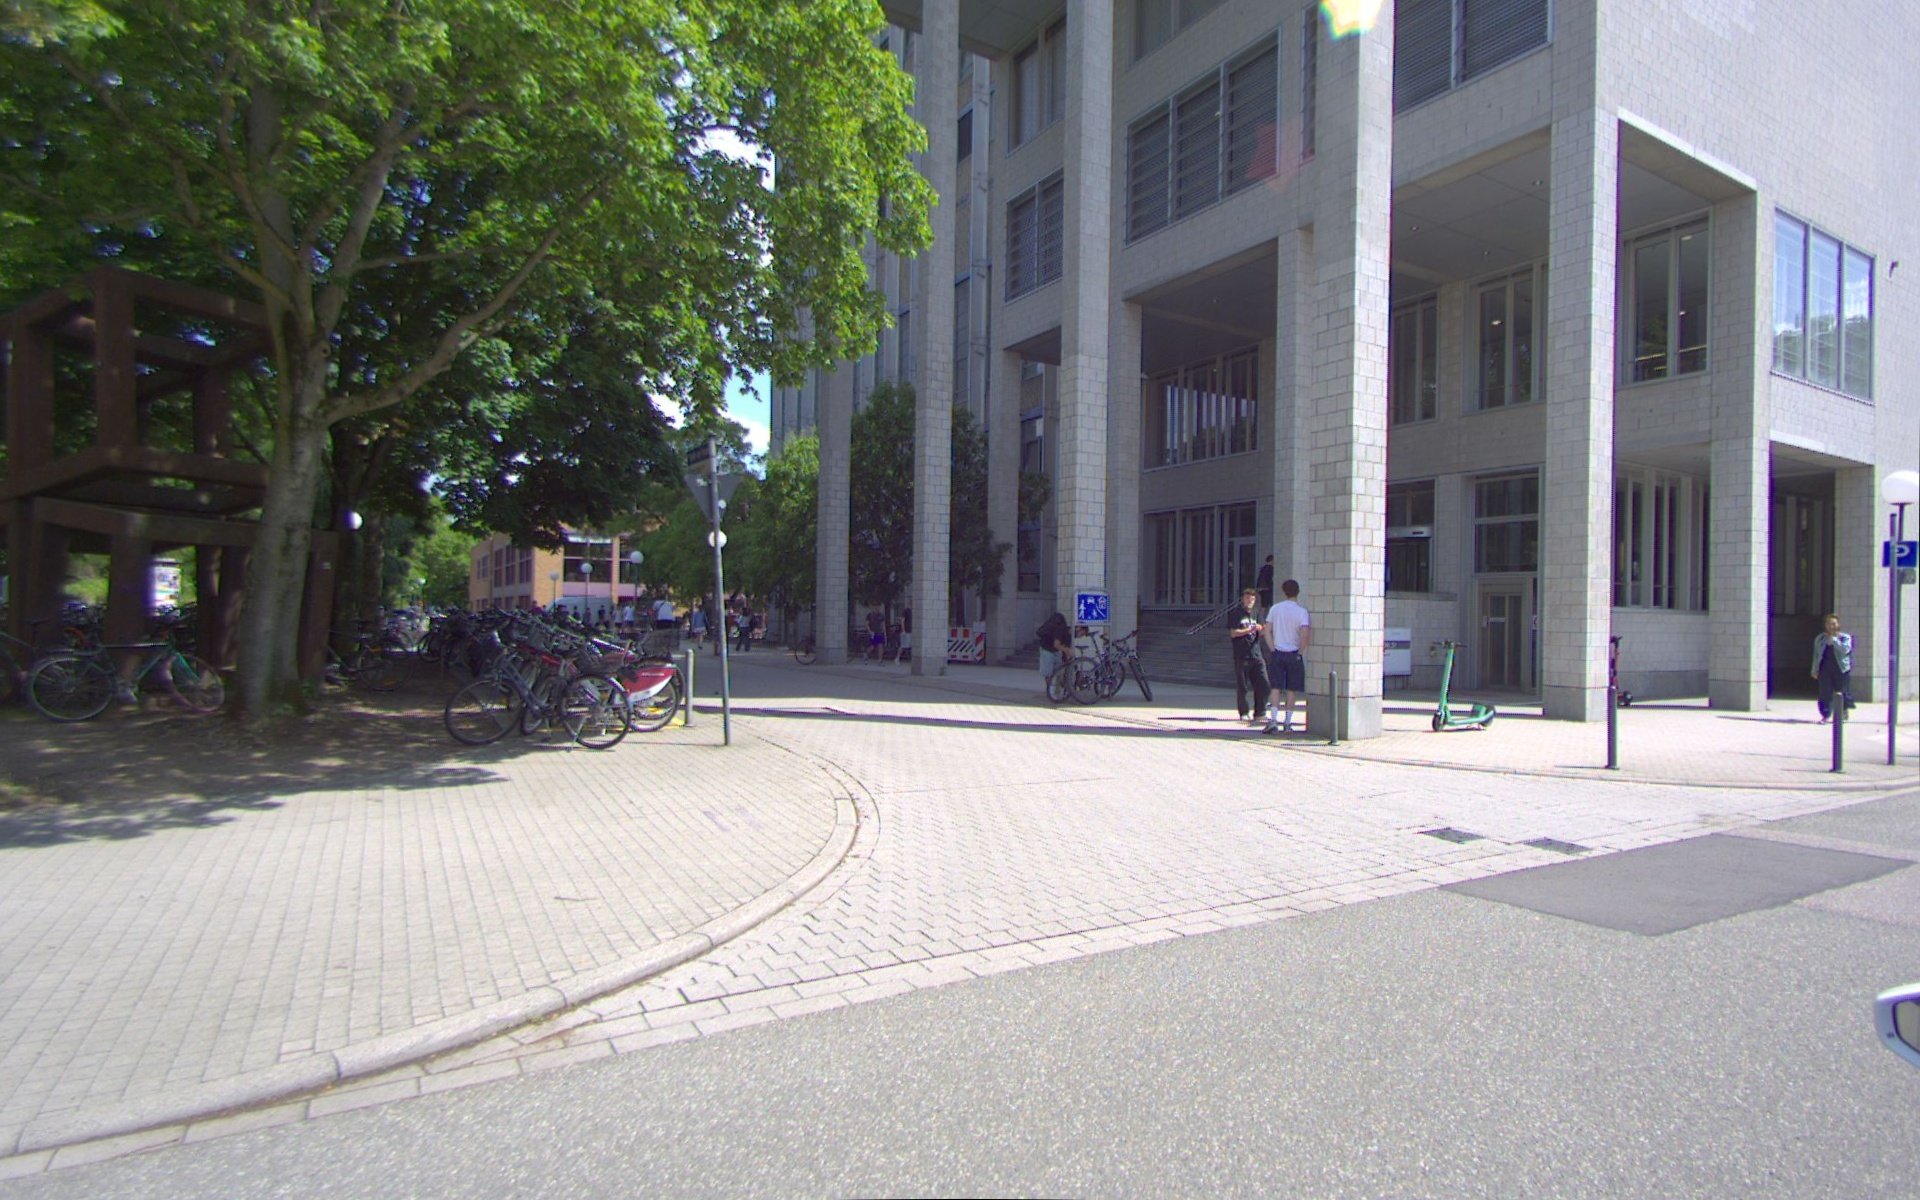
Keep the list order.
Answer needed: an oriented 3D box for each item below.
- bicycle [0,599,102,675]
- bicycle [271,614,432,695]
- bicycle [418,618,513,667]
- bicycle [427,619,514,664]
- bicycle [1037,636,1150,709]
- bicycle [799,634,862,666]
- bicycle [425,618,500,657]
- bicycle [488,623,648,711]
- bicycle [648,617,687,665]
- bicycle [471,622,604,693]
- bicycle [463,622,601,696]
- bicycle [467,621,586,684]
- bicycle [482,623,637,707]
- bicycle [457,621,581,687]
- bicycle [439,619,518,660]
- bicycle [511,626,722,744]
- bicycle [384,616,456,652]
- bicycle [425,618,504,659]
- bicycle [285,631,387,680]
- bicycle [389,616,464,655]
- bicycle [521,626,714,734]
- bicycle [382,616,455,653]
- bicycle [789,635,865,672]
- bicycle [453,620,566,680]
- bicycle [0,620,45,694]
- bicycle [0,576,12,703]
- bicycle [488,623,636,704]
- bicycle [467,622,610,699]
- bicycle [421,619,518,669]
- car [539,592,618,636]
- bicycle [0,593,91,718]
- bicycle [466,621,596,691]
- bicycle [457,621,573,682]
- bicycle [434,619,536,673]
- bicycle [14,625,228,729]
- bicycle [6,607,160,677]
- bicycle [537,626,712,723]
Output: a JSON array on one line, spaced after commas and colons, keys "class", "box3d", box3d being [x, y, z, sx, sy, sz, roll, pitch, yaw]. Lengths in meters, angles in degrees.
[{"class": "bicycle", "box3d": [-16.255, 0.610, 17.400, 2.781, 1.249, 0.743, 1, -1, 17]}, {"class": "bicycle", "box3d": [-8.246, 0.735, 13.679, 1.828, 1.046, 0.473, 2, -1, -31]}, {"class": "bicycle", "box3d": [-11.612, 1.003, 23.605, 1.950, 1.101, 0.549, 2, 1, -31]}, {"class": "bicycle", "box3d": [-12.510, 1.053, 25.708, 1.950, 1.101, 0.549, 2, 1, -31]}, {"class": "bicycle", "box3d": [2.125, 1.121, 15.852, 1.840, 1.028, 0.463, -1, 2, -27]}, {"class": "bicycle", "box3d": [-3.458, 1.342, 26.966, 1.667, 0.820, 0.375, 2, 0, -32]}, {"class": "bicycle", "box3d": [-14.740, 1.117, 29.793, 1.950, 1.101, 0.549, 2, 1, -31]}, {"class": "bicycle", "box3d": [-5.289, 0.890, 13.608, 1.950, 1.101, 0.549, 2, 1, -31]}, {"class": "bicycle", "box3d": [-8.085, 1.095, 27.697, 0.871, 1.215, 2.738, 1, -1, -19]}, {"class": "bicycle", "box3d": [-6.944, 0.934, 16.543, 1.950, 1.101, 0.549, 2, 1, -31]}, {"class": "bicycle", "box3d": [-6.790, 0.918, 15.963, 1.950, 1.101, 0.549, 2, 1, -31]}, {"class": "bicycle", "box3d": [-8.010, 0.968, 18.609, 1.950, 1.101, 0.549, 2, 1, -31]}, {"class": "bicycle", "box3d": [-5.613, 0.896, 14.120, 1.950, 1.101, 0.549, 2, 1, -31]}, {"class": "bicycle", "box3d": [-7.809, 0.946, 17.818, 1.950, 1.101, 0.549, 2, 1, -31]}, {"class": "bicycle", "box3d": [-13.445, 1.105, 28.065, 1.950, 1.101, 0.549, 2, 1, -31]}, {"class": "bicycle", "box3d": [-3.495, 0.838, 10.297, 1.950, 1.101, 0.549, 2, 1, -31]}, {"class": "bicycle", "box3d": [-17.084, 1.075, 31.786, 1.950, 1.101, 0.614, 2, 1, -31]}, {"class": "bicycle", "box3d": [-14.029, 1.095, 28.455, 1.950, 1.101, 0.549, 2, 1, -31]}, {"class": "bicycle", "box3d": [-10.766, 0.942, 17.378, 0.317, 0.773, 1.559, 1, 0, 26]}, {"class": "bicycle", "box3d": [-16.027, 1.065, 30.167, 1.950, 1.101, 0.614, 2, 1, -31]}, {"class": "bicycle", "box3d": [-3.801, 0.860, 11.219, 1.950, 1.101, 0.549, 2, 1, -31]}, {"class": "bicycle", "box3d": [-16.729, 1.064, 31.044, 1.950, 1.101, 0.614, 2, 1, -31]}, {"class": "bicycle", "box3d": [-3.543, 1.418, 26.880, 1.972, 0.959, 0.522, 1, -1, -32]}, {"class": "bicycle", "box3d": [-8.818, 0.977, 19.702, 1.950, 1.101, 0.549, 2, 1, -31]}, {"class": "bicycle", "box3d": [-16.300, 0.862, 16.386, 2.708, 1.083, 0.743, 3, 1, 17]}, {"class": "bicycle", "box3d": [-12.181, 0.438, 11.927, 2.248, 1.469, 0.606, 1, 0, 27]}, {"class": "bicycle", "box3d": [-5.828, 0.911, 14.749, 1.950, 1.101, 0.549, 2, 1, -31]}, {"class": "bicycle", "box3d": [-6.433, 0.909, 15.364, 1.950, 1.101, 0.549, 2, 1, -31]}, {"class": "bicycle", "box3d": [-11.260, 1.004, 23.081, 1.950, 1.101, 0.549, 2, 1, -31]}, {"class": "car", "box3d": [-25.449, 0.949, 67.079, 4.584, 2.813, 1.980, 2, 0, -36]}, {"class": "bicycle", "box3d": [-10.306, 0.581, 10.939, 1.984, 1.270, 0.587, 0, -1, 28]}, {"class": "bicycle", "box3d": [-7.268, 0.940, 17.059, 1.950, 1.101, 0.549, 2, 1, -31]}, {"class": "bicycle", "box3d": [-8.437, 0.969, 19.088, 1.950, 1.101, 0.549, 2, 1, -31]}, {"class": "bicycle", "box3d": [-10.335, 0.996, 21.873, 1.950, 1.101, 0.549, 2, 1, -31]}, {"class": "bicycle", "box3d": [-8.578, 0.759, 10.331, 1.644, 0.978, 0.471, 2, -1, -42]}, {"class": "bicycle", "box3d": [-16.189, 0.750, 18.537, 2.853, 1.171, 0.743, 2, 0, 17]}, {"class": "bicycle", "box3d": [-4.100, 0.891, 12.333, 1.950, 1.101, 0.549, 2, 1, -31]}]
